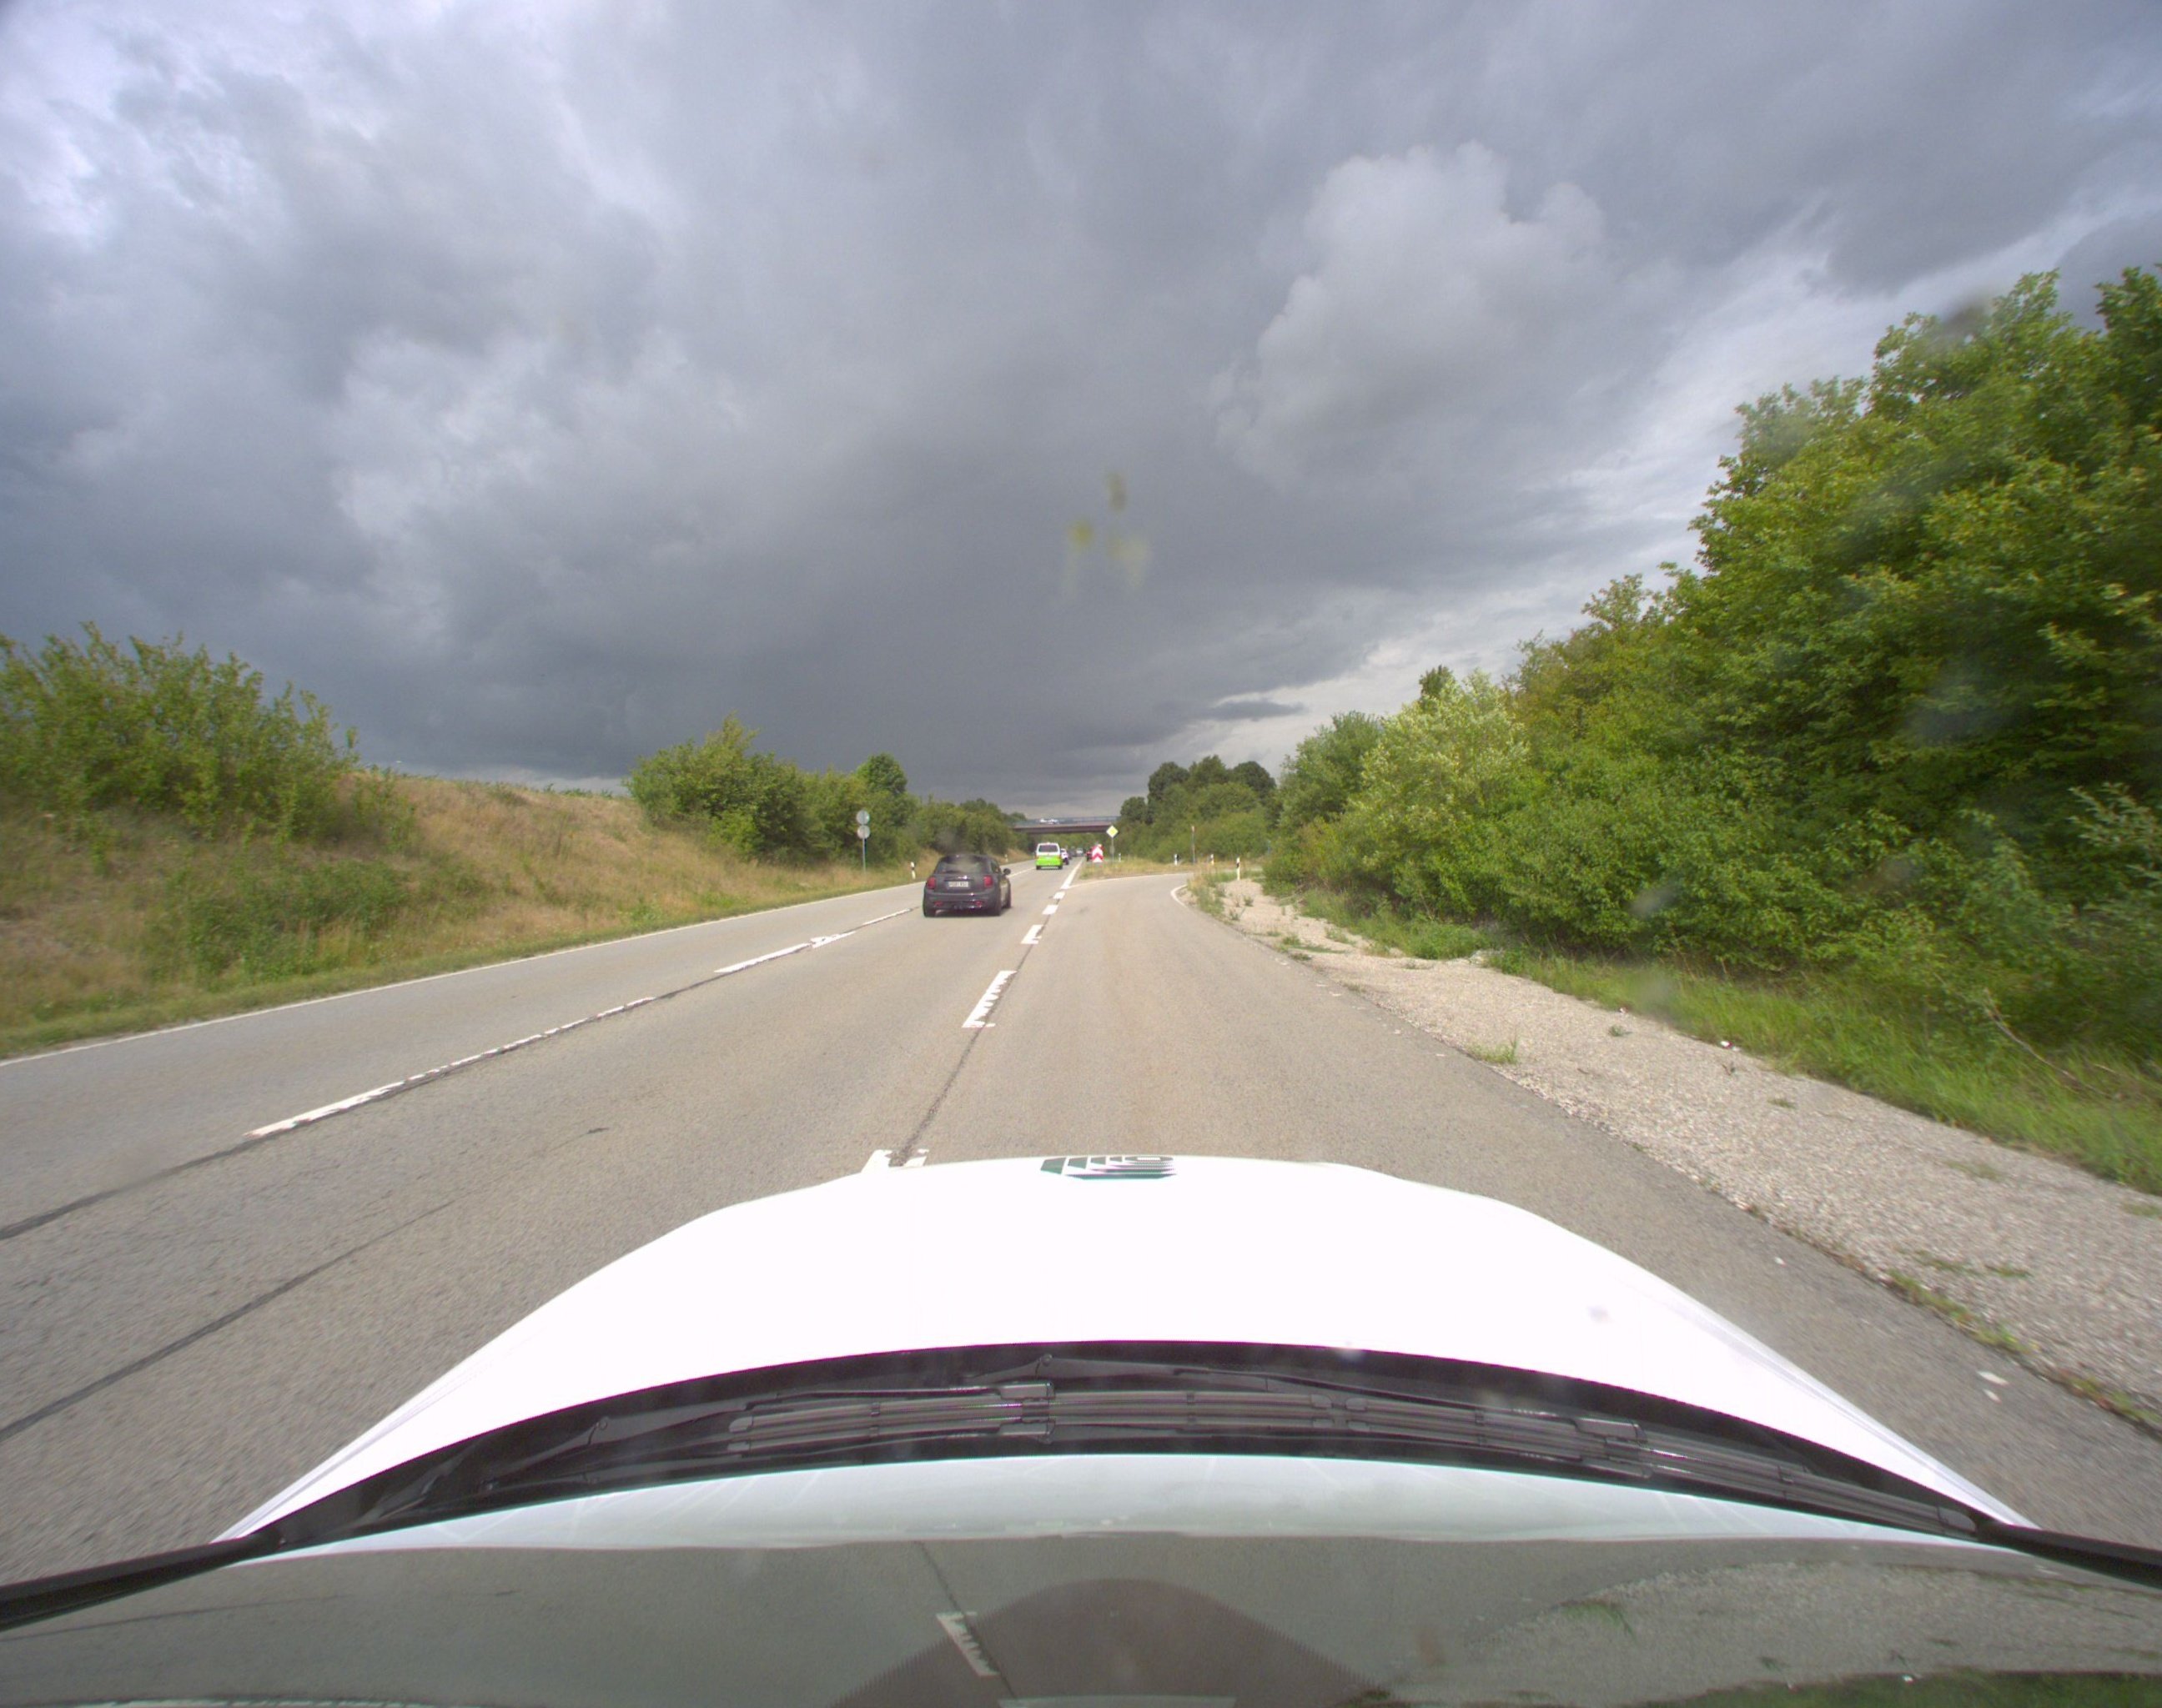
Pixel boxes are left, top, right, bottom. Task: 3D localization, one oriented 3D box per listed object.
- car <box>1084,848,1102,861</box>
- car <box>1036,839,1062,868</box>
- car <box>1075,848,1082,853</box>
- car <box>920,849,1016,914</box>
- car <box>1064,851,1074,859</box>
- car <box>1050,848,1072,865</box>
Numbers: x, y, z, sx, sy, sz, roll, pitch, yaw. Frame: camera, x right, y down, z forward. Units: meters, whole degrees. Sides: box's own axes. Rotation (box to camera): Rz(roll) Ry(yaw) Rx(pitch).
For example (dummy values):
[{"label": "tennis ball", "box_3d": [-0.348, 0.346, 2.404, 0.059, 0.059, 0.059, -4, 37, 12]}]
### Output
[{"label": "car", "box_3d": [1.474, 0.057, 98.708, 1.988, 1.552, 3.997, 0, 0, -2]}, {"label": "car", "box_3d": [-2.368, -0.062, 60.913, 1.813, 2.054, 4.000, 0, 0, 0]}, {"label": "car", "box_3d": [-0.639, -0.846, 199.231, 1.661, 1.403, 4.001, -1, 0, 1]}, {"label": "car", "box_3d": [-2.649, 0.591, 19.911, 1.751, 1.427, 4.000, 0, 0, 0]}, {"label": "car", "box_3d": [-2.199, 0.149, 145.459, 1.661, 1.403, 4.000, -1, 0, 1]}, {"label": "car", "box_3d": [-1.917, 0.194, 77.829, 1.987, 1.552, 4.000, 0, 0, 0]}]
